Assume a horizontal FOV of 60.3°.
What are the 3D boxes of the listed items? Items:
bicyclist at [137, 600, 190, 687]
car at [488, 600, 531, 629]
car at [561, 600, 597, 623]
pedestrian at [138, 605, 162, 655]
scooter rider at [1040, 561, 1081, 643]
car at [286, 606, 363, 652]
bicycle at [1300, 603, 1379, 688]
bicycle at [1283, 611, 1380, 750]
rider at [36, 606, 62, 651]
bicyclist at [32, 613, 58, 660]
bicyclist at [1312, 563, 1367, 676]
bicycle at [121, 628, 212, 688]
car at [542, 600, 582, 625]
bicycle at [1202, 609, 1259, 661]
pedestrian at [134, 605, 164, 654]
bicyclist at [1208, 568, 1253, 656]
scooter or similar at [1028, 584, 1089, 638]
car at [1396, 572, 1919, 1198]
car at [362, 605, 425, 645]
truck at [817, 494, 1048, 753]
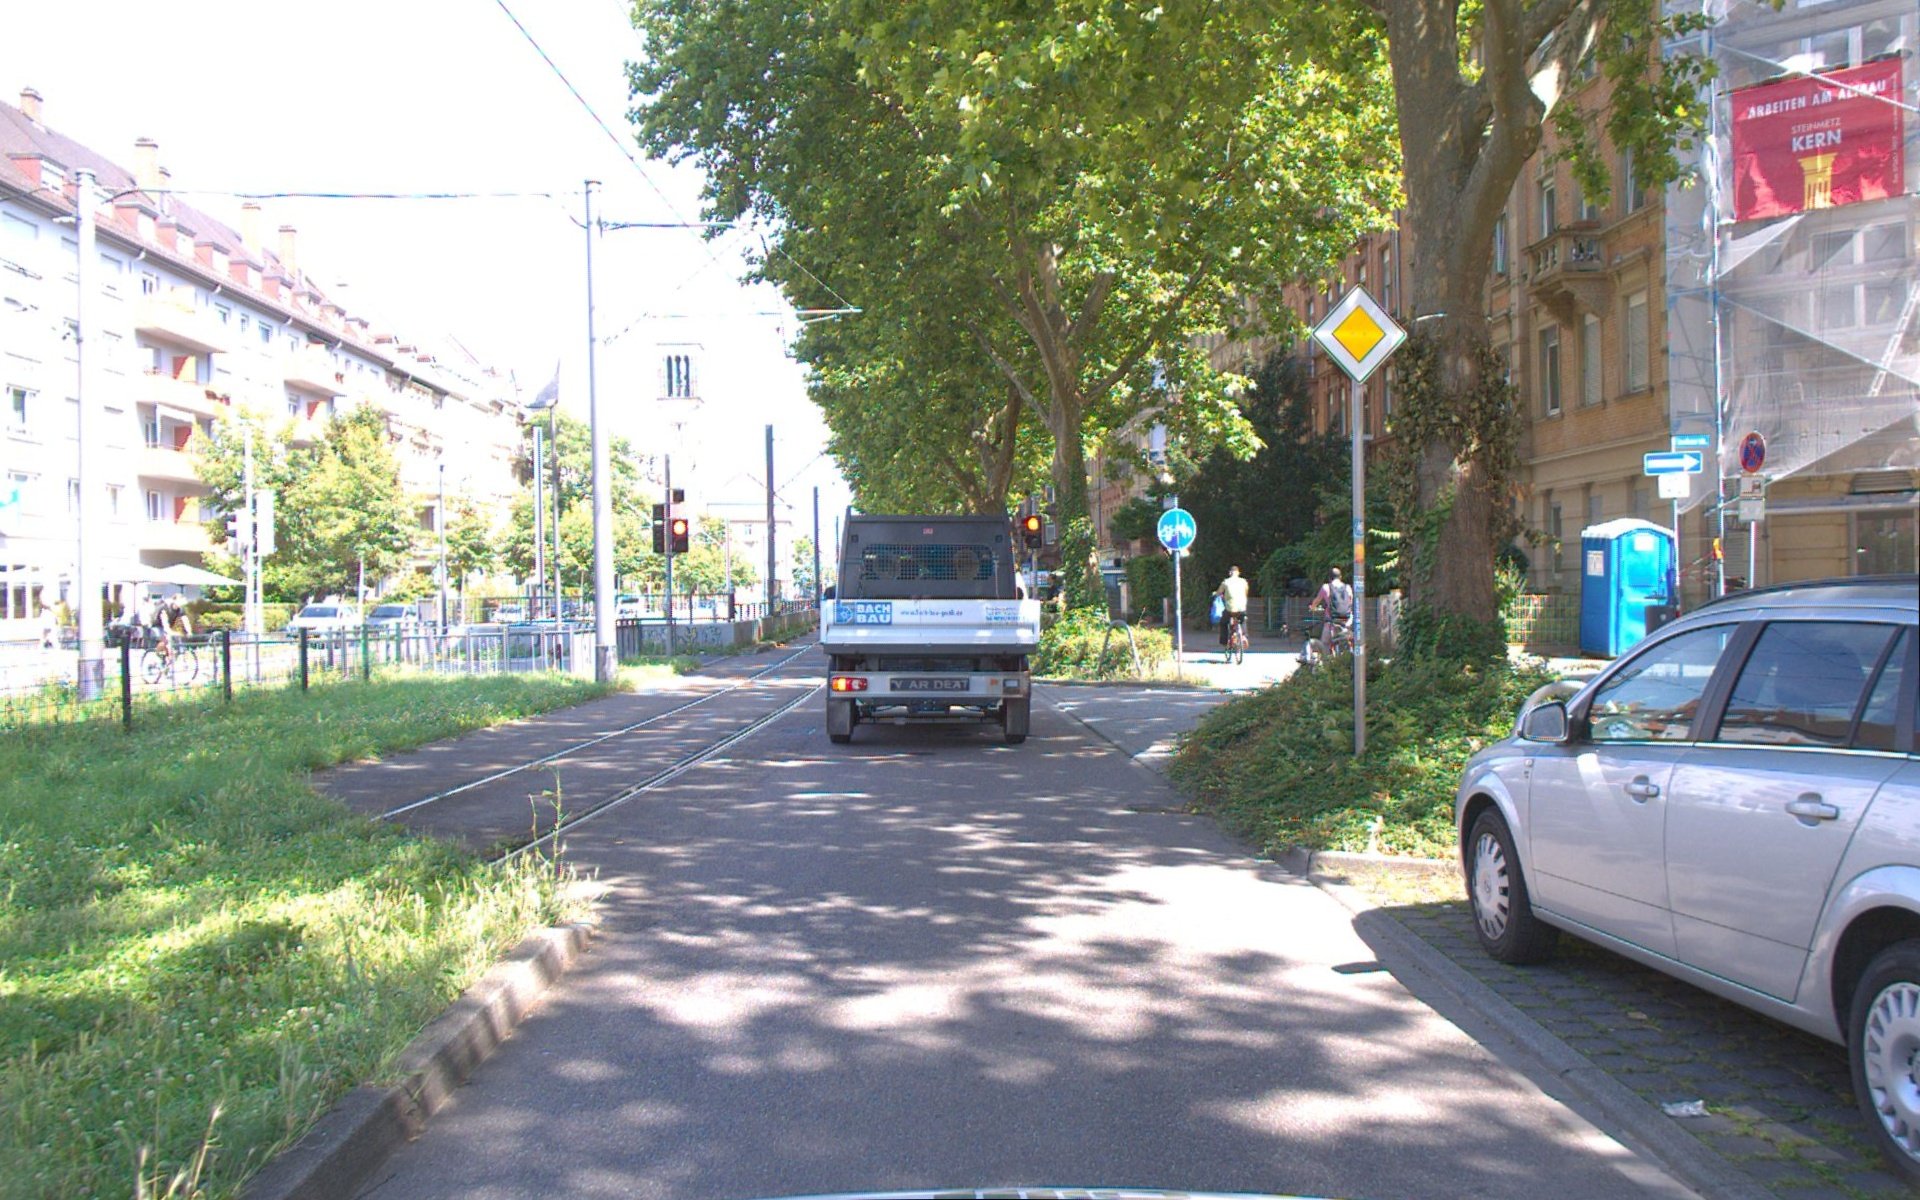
[{"bbox_3d":[-15.503,0.835,32.213,0.609,1.651,0.695,-1,0,12],"label":"bicyclist"},{"bbox_3d":[-24.885,0.793,91.483,1.737,1.524,3.993,-1,0,-8],"label":"car"},{"bbox_3d":[-25.953,0.751,112.671,1.735,1.524,3.997,-1,0,-3],"label":"car"},{"bbox_3d":[-26.691,0.981,54.489,0.679,1.600,0.542,-1,0,-26],"label":"pedestrian"},{"bbox_3d":[2.347,0.047,38.518,0.657,1.899,0.660,-1,0,42],"label":"scooter rider"},{"bbox_3d":[-23.512,1.039,61.325,1.737,1.524,3.993,-3,0,-8],"label":"car"},{"bbox_3d":[5.454,0.627,23.869,0.554,1.131,2.310,-1,0,-1],"label":"bicycle"},{"bbox_3d":[3.295,0.677,14.578,0.413,1.125,1.614,-1,0,28],"label":"bicycle"},{"bbox_3d":[-29.460,0.920,53.473,0.613,1.448,0.587,-1,0,-19],"label":"rider"},{"bbox_3d":[-29.246,1.163,52.892,0.613,1.448,0.587,-1,0,-19],"label":"bicyclist"},{"bbox_3d":[5.461,0.275,23.811,0.625,1.601,0.579,-1,0,-1],"label":"bicyclist"},{"bbox_3d":[-15.470,1.112,32.283,0.519,1.067,1.928,-2,0,11],"label":"bicycle"},{"bbox_3d":[-25.248,0.761,105.015,1.735,1.524,3.997,-1,0,-3],"label":"car"},{"bbox_3d":[5.006,0.635,30.711,0.661,0.897,2.163,-1,0,-1],"label":"bicycle"},{"bbox_3d":[-26.979,0.989,55.037,0.847,1.600,0.684,-1,0,-26],"label":"pedestrian"},{"bbox_3d":[5.001,0.211,30.590,0.667,1.591,0.777,-1,0,-1],"label":"bicyclist"},{"bbox_3d":[2.294,0.270,38.574,1.248,1.225,0.653,-1,0,42],"label":"scooter or similar"},{"bbox_3d":[3.116,0.677,5.419,1.798,1.534,4.486,-1,0,-6],"label":"car"},{"bbox_3d":[-23.896,1.023,69.893,1.737,1.524,3.993,-3,0,-8],"label":"car"},{"bbox_3d":[-0.302,0.213,17.434,2.095,2.359,4.400,1,0,-1],"label":"truck"}]
